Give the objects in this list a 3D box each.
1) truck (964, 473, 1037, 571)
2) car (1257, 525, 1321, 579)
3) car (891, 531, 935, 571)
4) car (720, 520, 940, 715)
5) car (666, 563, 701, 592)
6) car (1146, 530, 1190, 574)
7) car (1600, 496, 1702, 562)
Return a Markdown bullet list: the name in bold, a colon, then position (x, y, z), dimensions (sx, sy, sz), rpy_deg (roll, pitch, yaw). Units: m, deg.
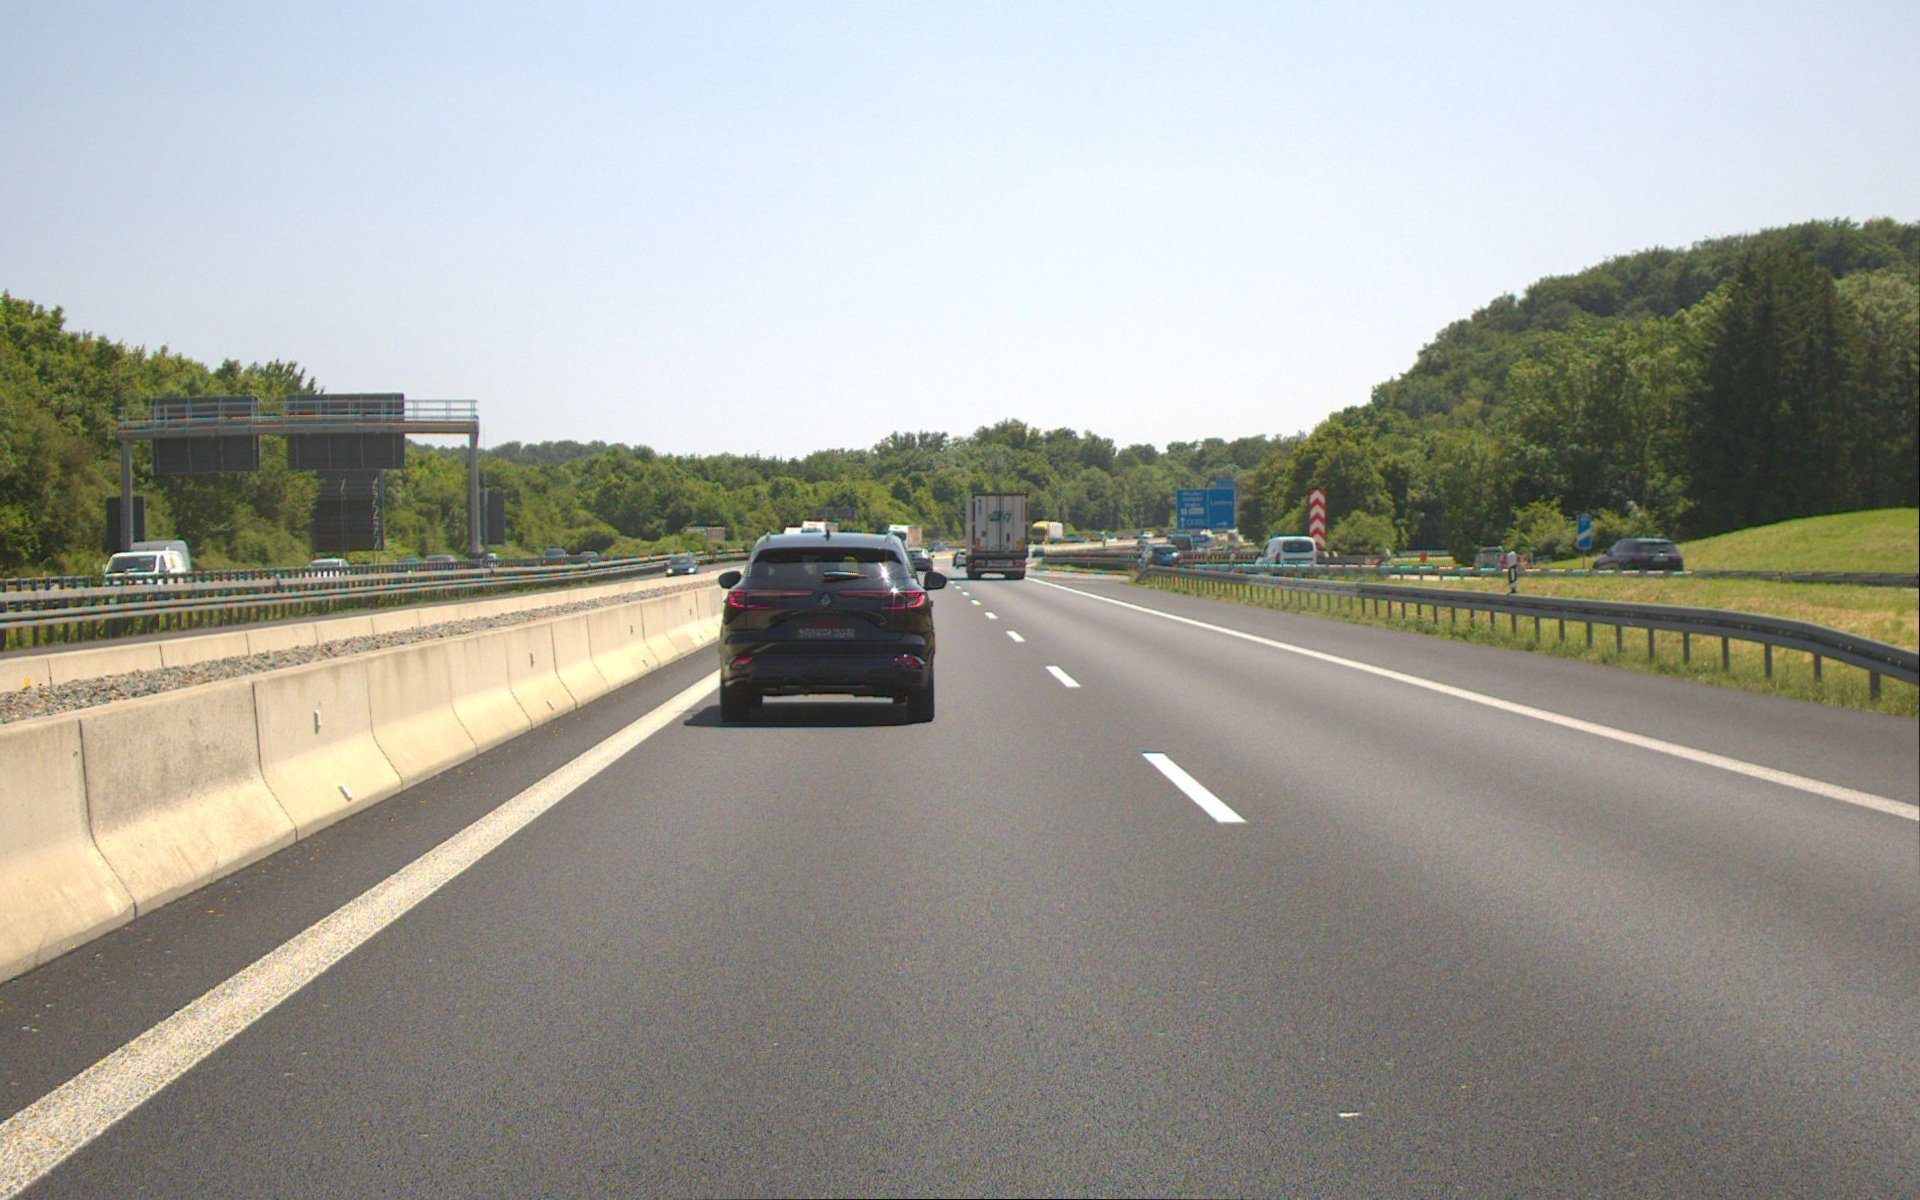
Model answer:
- **truck**: position (1.842, -3.630, 162.959), dimensions (3.032, 4.403, 12.019), rpy_deg (1, 0, -1)
- **car**: position (12.865, -1.884, 134.513), dimensions (1.993, 2.007, 4.000), rpy_deg (-2, 1, -1)
- **car**: position (-2.658, -2.786, 195.665), dimensions (2.138, 2.209, 5.087), rpy_deg (1, 0, 3)
- **car**: position (-1.176, 0.131, 30.157), dimensions (1.779, 1.572, 4.000), rpy_deg (1, 0, -3)
- **car**: position (-15.227, -1.231, 189.576), dimensions (1.833, 1.529, 4.160), rpy_deg (1, 0, -4)
- **car**: position (9.710, -2.244, 160.706), dimensions (1.994, 2.007, 4.000), rpy_deg (1, 0, 3)
- **car**: position (22.247, -2.270, 110.832), dimensions (1.993, 2.007, 4.001), rpy_deg (-2, 1, -7)
